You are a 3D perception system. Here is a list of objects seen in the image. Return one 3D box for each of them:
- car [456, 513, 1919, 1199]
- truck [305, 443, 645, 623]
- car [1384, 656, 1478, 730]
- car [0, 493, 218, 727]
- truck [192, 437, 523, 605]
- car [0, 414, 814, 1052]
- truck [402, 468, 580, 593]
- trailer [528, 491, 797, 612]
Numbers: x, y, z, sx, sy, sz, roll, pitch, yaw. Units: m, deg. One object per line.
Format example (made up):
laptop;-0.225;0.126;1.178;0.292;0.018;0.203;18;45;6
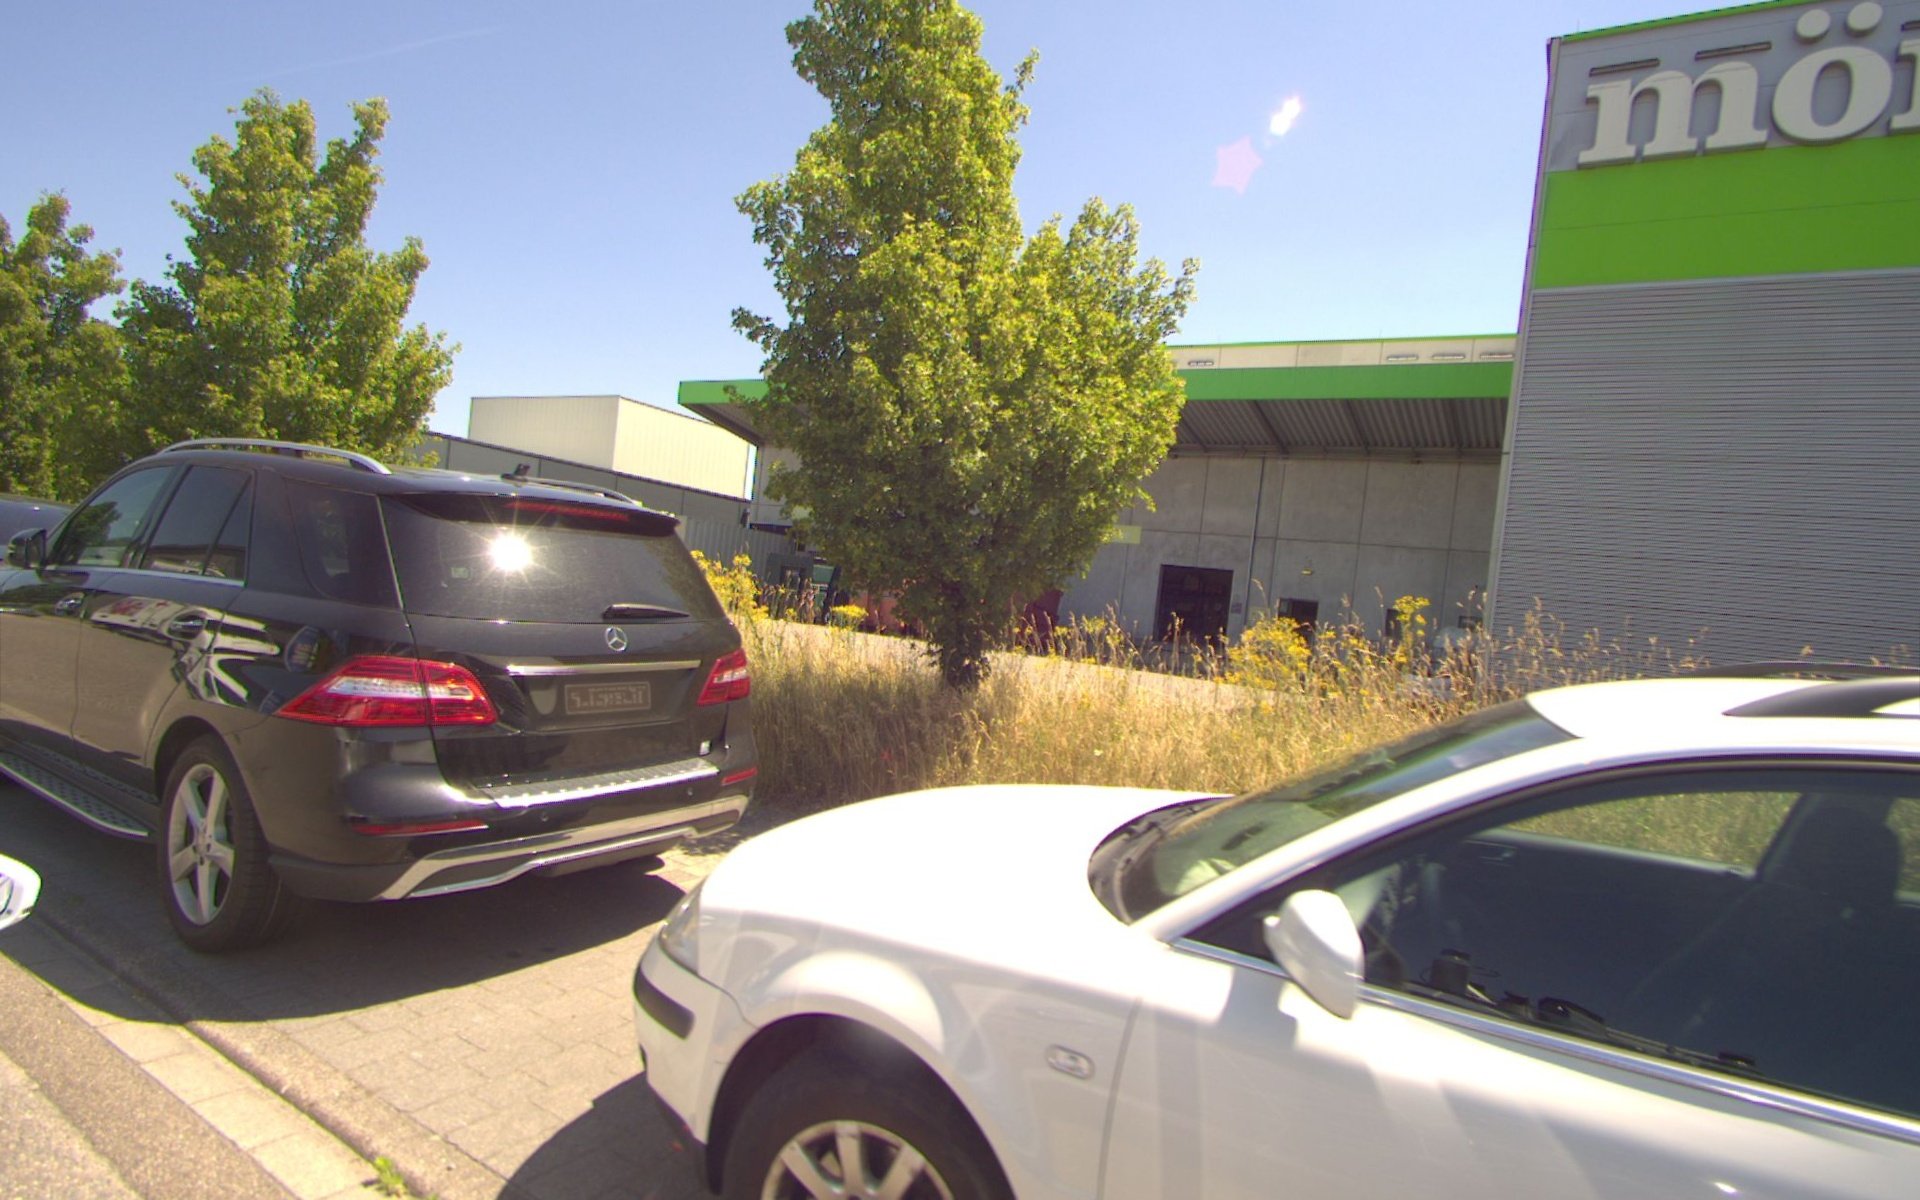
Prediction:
car;1.411;0.830;1.793;4.691;1.502;1.715;7;2;29
truck;-9.651;-1.193;20.721;2.267;2.908;5.911;6;0;29
car;11.874;2.300;25.259;1.525;1.552;3.389;6;0;33
car;-7.685;-0.131;7.604;4.758;1.402;1.698;6;2;32
truck;-13.321;-1.627;22.737;2.374;2.950;5.827;6;0;31
car;-3.139;0.172;4.762;4.695;1.748;1.811;7;2;32
truck;-17.342;-2.495;37.489;2.758;3.923;5.067;6;0;32
trailer;-12.693;-1.899;45.025;2.758;3.922;12.631;6;-1;32
